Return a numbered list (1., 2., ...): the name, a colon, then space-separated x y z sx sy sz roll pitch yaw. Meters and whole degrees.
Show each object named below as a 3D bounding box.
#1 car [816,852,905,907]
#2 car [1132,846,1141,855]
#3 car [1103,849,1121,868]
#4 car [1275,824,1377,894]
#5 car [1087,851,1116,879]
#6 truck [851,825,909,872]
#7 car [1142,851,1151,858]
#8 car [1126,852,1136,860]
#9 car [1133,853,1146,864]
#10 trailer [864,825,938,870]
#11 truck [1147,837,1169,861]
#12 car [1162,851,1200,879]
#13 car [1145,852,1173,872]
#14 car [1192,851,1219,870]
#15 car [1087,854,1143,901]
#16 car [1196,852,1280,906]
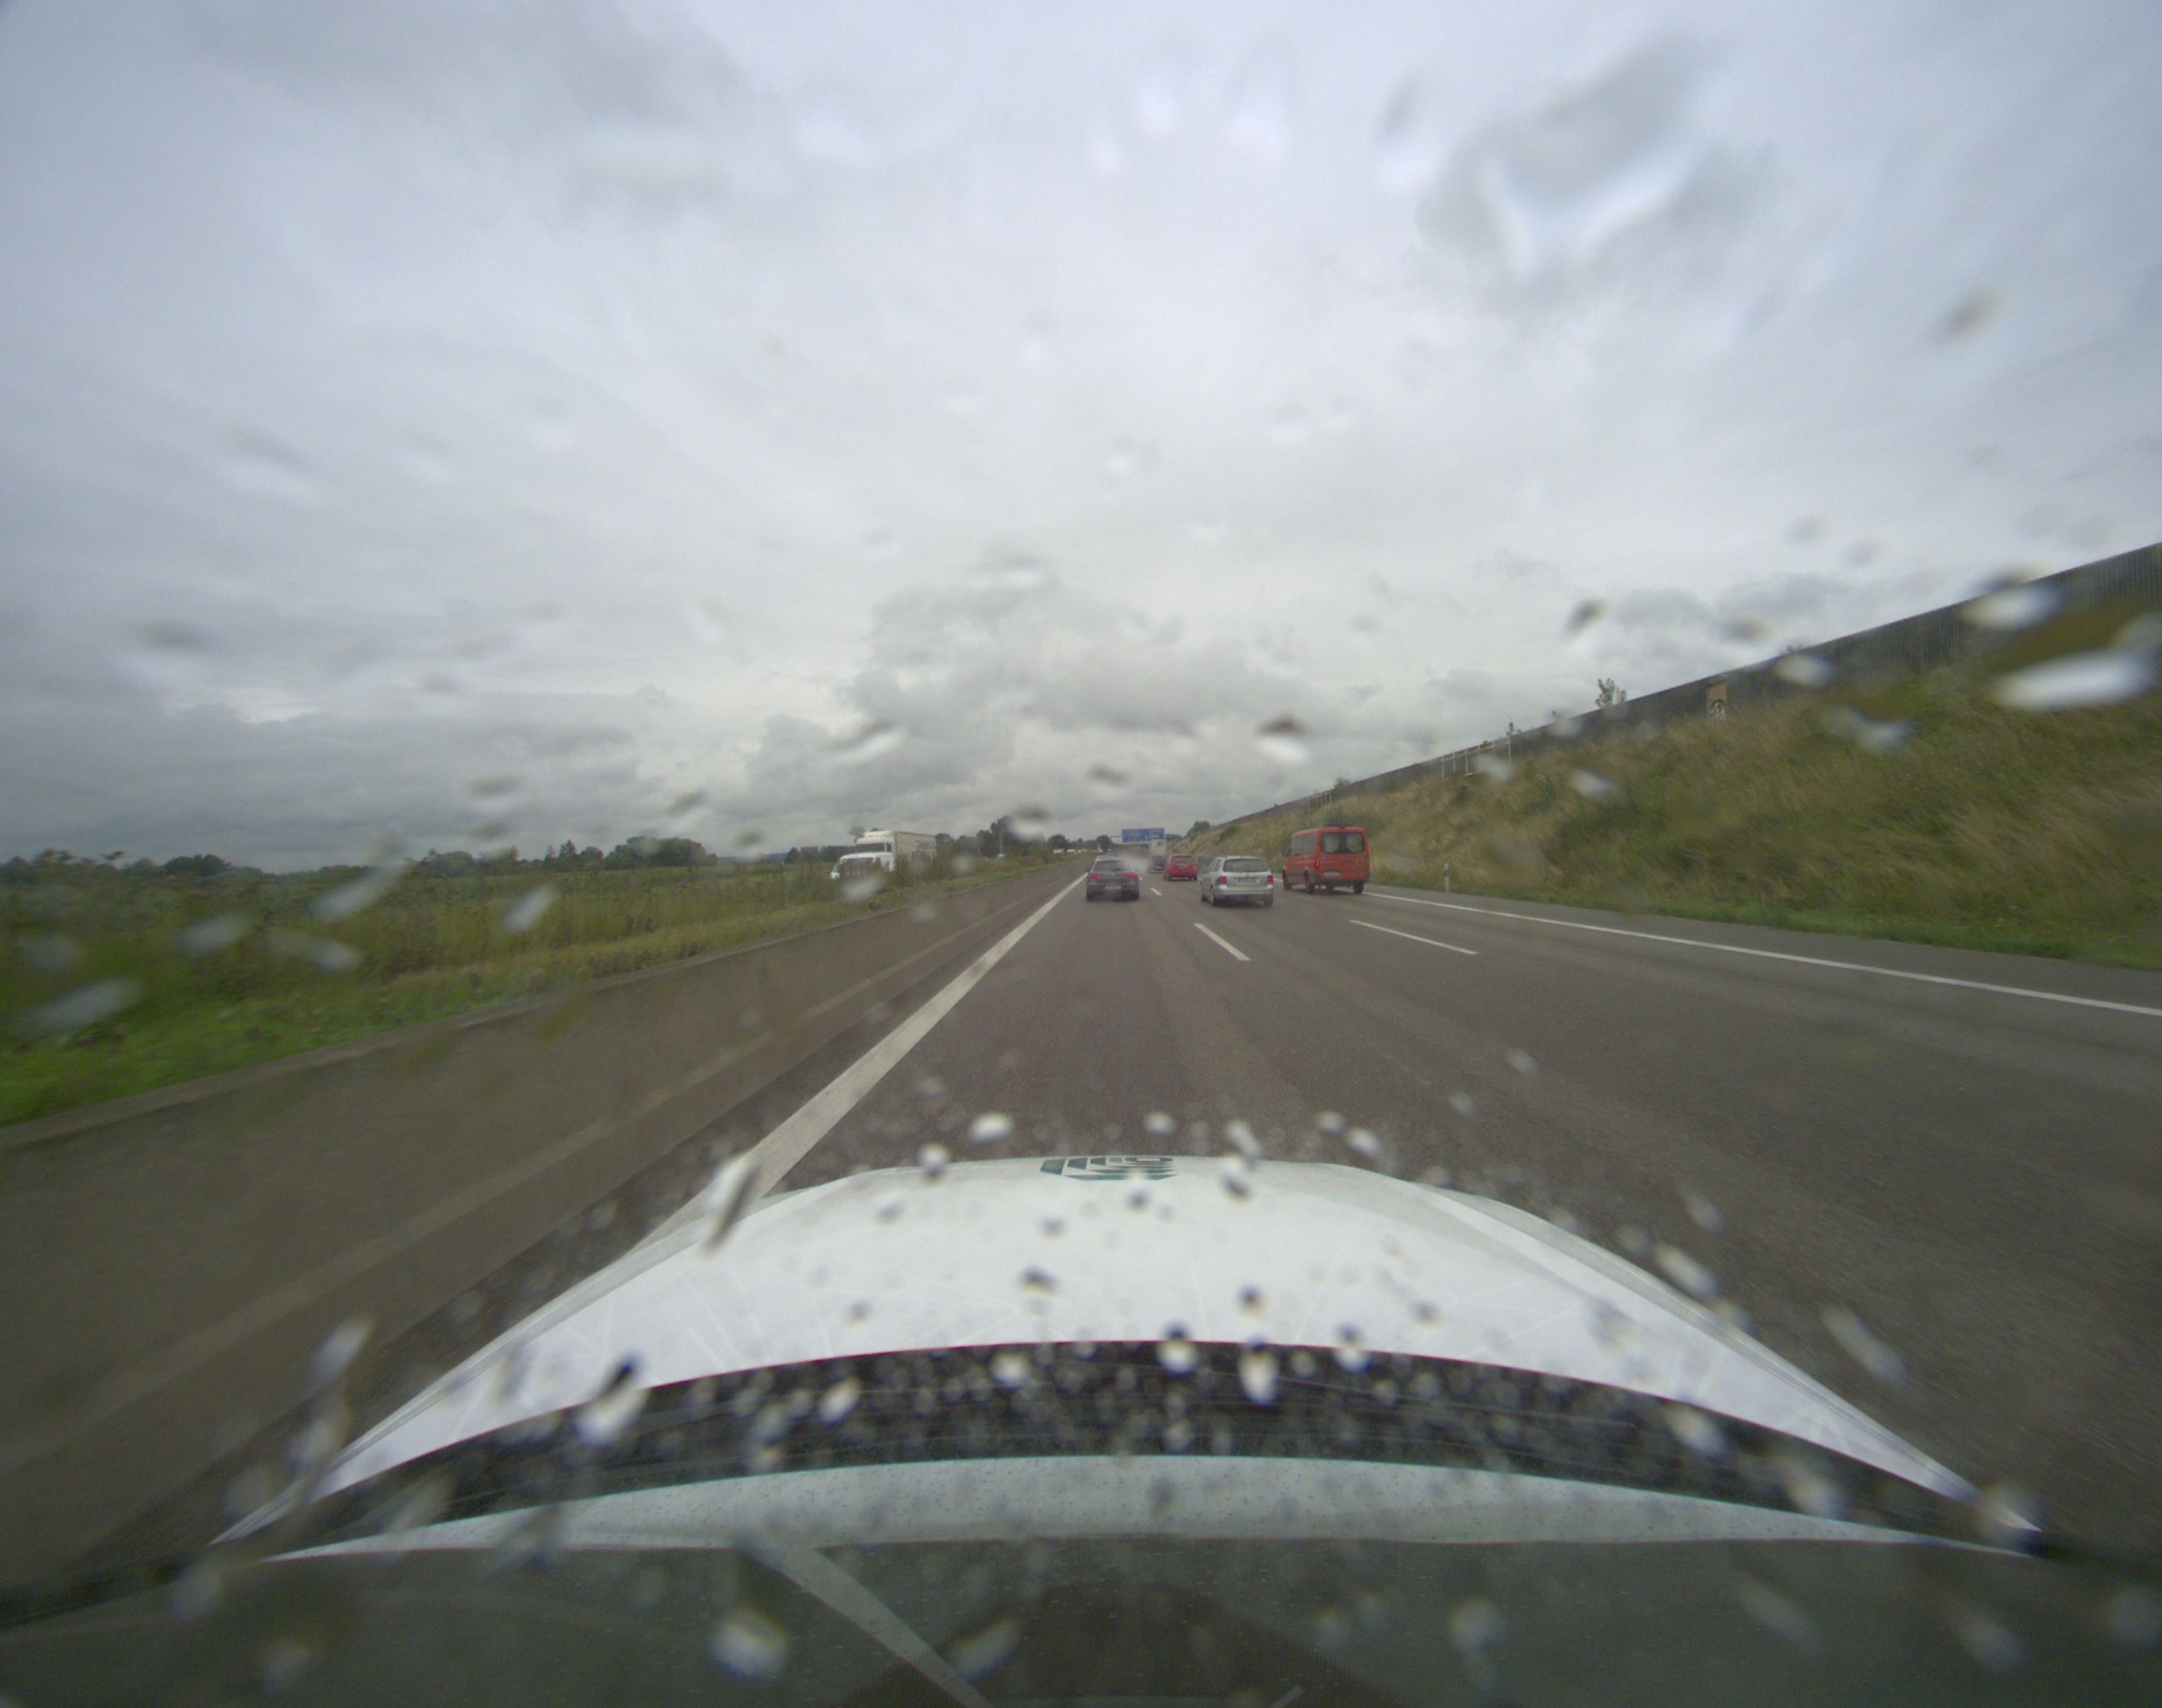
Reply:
1. car: -8.724 0.933 32.734 1.986 2.013 5.071 -1 0 2
2. car: 13.636 -0.873 201.867 1.986 2.013 4.001 -2 0 1
3. car: 3.144 0.455 82.315 1.698 1.796 3.857 -3 0 2
4. car: 9.114 0.164 30.925 2.078 2.315 6.182 -2 0 1
5. car: 1.373 0.693 53.188 1.746 1.750 4.004 -1 0 3
6. truck: -15.379 -0.394 62.851 2.959 3.428 5.629 -1 0 1
7. car: 17.829 0.190 222.228 1.986 1.860 4.392 -2 0 1
8. car: 9.772 0.451 159.081 1.745 1.517 4.001 -2 0 2
9. car: 9.068 0.644 126.745 1.839 1.687 4.001 -1 0 1
10. trailer: -15.182 -0.473 70.058 2.903 3.428 13.247 -1 0 2
11. truck: 14.403 -0.825 153.286 3.269 4.295 19.048 -1 0 3
12. car: 5.736 0.598 47.243 1.883 1.446 4.689 -2 0 3
13. car: 6.315 0.613 66.474 1.914 1.522 4.624 -2 0 2
14. car: 9.689 0.499 63.579 1.695 1.401 3.879 -1 0 4
15. car: 1.178 0.767 27.755 1.761 1.467 4.003 -1 0 3
16. car: 4.597 0.686 24.442 1.735 1.425 4.519 -2 0 2
